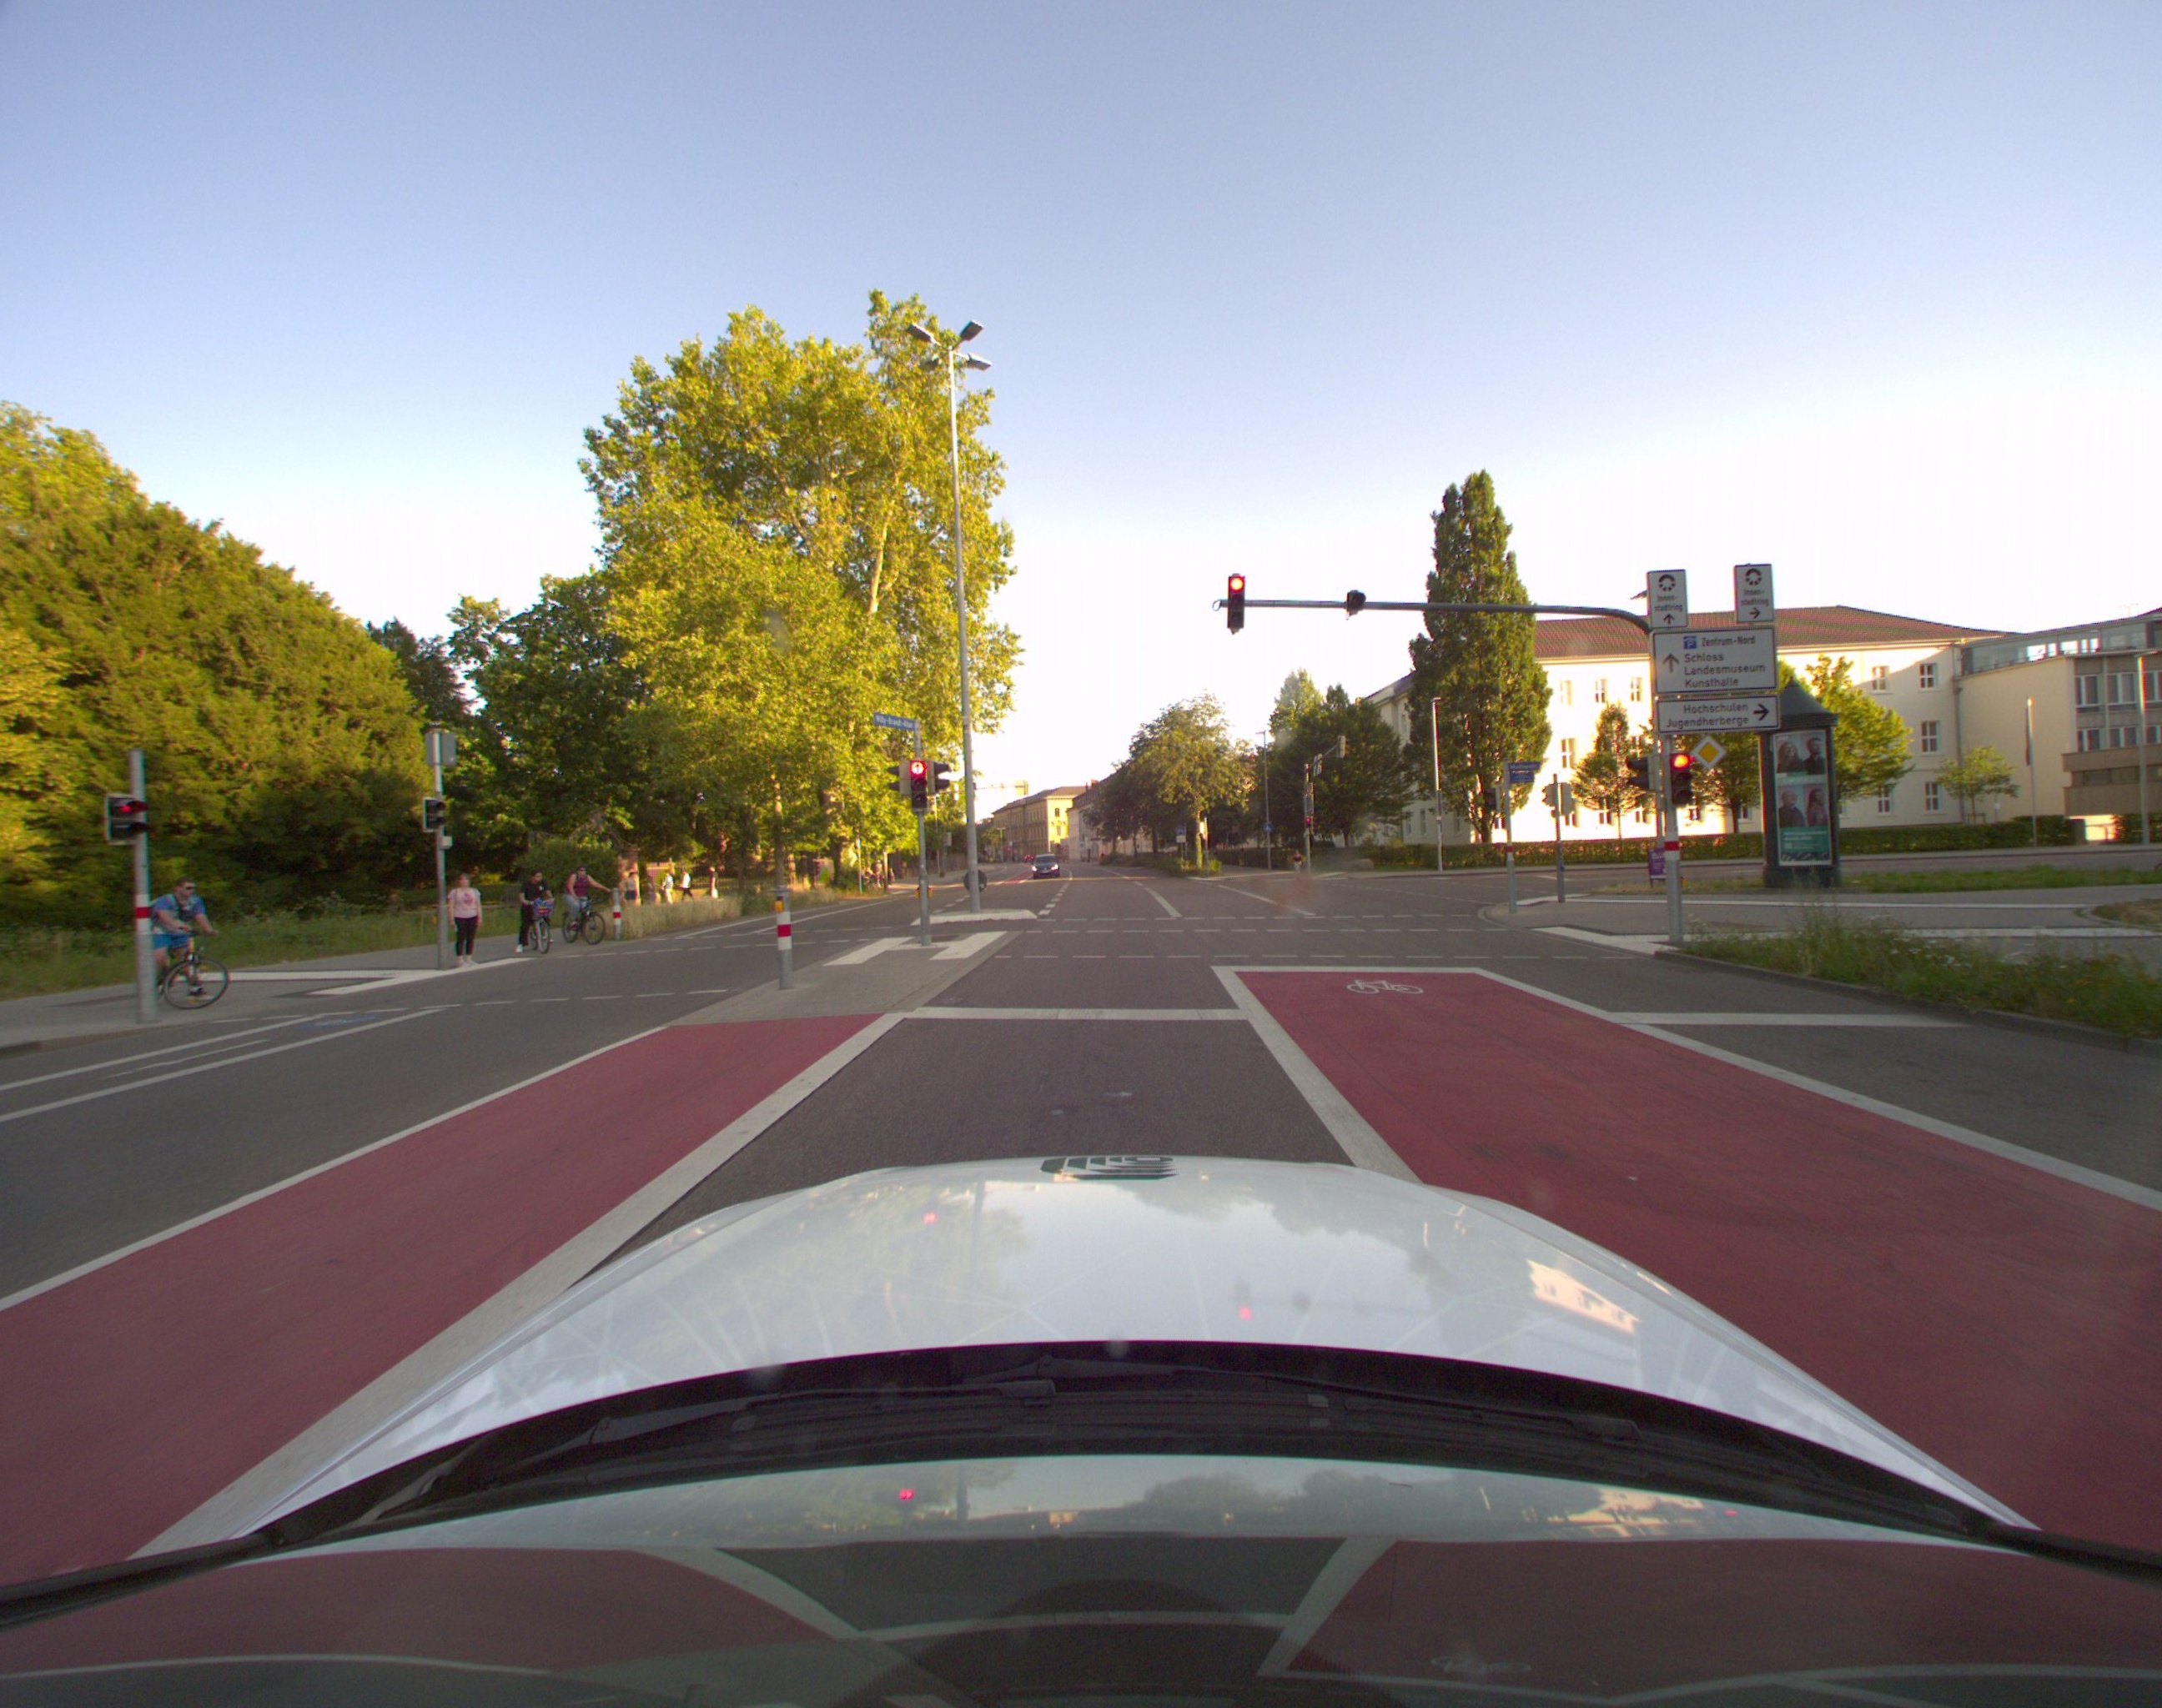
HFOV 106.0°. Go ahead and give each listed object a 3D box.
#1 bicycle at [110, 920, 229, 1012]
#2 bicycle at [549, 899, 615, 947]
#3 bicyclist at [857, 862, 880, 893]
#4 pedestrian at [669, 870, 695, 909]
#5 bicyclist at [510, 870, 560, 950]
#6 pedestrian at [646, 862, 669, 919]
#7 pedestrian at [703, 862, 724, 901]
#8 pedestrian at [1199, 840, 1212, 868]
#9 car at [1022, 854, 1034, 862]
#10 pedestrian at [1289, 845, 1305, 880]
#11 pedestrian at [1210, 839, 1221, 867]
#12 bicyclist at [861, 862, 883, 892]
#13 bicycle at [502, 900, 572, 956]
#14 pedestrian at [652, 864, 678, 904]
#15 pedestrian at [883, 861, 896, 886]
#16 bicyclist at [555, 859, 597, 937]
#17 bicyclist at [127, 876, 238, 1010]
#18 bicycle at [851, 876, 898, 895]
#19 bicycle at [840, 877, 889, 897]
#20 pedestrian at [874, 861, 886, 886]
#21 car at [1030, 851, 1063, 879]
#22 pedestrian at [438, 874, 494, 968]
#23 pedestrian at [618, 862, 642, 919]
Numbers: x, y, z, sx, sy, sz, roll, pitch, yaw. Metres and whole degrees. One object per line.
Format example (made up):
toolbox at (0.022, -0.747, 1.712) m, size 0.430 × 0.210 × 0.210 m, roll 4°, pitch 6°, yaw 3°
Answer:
bicycle at (-12.783, 1.518, 11.402) m, size 2.095 × 1.100 × 0.777 m, roll -2°, pitch 0°, yaw 33°
bicycle at (-11.708, 1.598, 19.078) m, size 1.749 × 1.030 × 0.583 m, roll -2°, pitch 0°, yaw 33°
bicyclist at (-11.633, 1.301, 44.623) m, size 0.954 × 1.631 × 0.753 m, roll -2°, pitch 0°, yaw 2°
pedestrian at (-21.172, 1.868, 43.231) m, size 0.757 × 2.013 × 1.077 m, roll -1°, pitch 0°, yaw 2°
bicyclist at (-11.725, 1.186, 17.492) m, size 0.631 × 1.649 × 0.634 m, roll -3°, pitch 0°, yaw 32°
pedestrian at (-15.272, 1.293, 29.339) m, size 0.598 × 2.013 × 0.634 m, roll -1°, pitch 0°, yaw -38°
pedestrian at (-19.146, 1.434, 42.443) m, size 0.637 × 2.013 × 0.702 m, roll -2°, pitch 0°, yaw 3°
pedestrian at (9.080, 0.025, 59.485) m, size 0.867 × 2.013 × 0.723 m, roll -1°, pitch 0°, yaw 1°
car at (-11.377, 0.877, 174.132) m, size 1.821 × 1.588 × 3.983 m, roll -3°, pitch 0°, yaw -12°
pedestrian at (10.271, 0.416, 38.756) m, size 0.597 × 1.636 × 0.692 m, roll -1°, pitch 0°, yaw 2°
pedestrian at (9.935, -0.065, 60.174) m, size 0.633 × 2.013 × 0.720 m, roll -1°, pitch 0°, yaw -2°
bicyclist at (-11.879, 1.308, 46.285) m, size 0.954 × 1.631 × 0.753 m, roll -2°, pitch 0°, yaw 2°
bicycle at (-11.674, 1.570, 17.469) m, size 1.548 × 1.111 × 0.637 m, roll -2°, pitch 0°, yaw 33°
pedestrian at (-21.529, 1.533, 42.181) m, size 0.799 × 2.013 × 0.994 m, roll -1°, pitch 0°, yaw 1°
pedestrian at (-12.570, 1.277, 53.556) m, size 0.597 × 1.573 × 0.646 m, roll -2°, pitch 0°, yaw 2°
bicyclist at (-11.888, 1.018, 19.178) m, size 0.631 × 1.780 × 0.580 m, roll -3°, pitch 0°, yaw 32°
bicyclist at (-12.766, 1.233, 11.595) m, size 0.708 × 1.824 × 0.737 m, roll 0°, pitch -1°, yaw -2°
bicycle at (-11.715, 1.792, 46.252) m, size 2.420 × 0.924 × 0.775 m, roll -2°, pitch 0°, yaw 2°
bicycle at (-11.877, 1.800, 44.634) m, size 2.420 × 0.924 × 0.775 m, roll -2°, pitch 0°, yaw 2°
pedestrian at (-13.260, 1.292, 53.768) m, size 0.533 × 1.596 × 0.591 m, roll -2°, pitch 0°, yaw 2°
car at (-2.383, 0.729, 56.700) m, size 1.842 × 1.720 × 4.298 m, roll -4°, pitch 0°, yaw 2°
pedestrian at (-11.564, 1.249, 15.329) m, size 0.604 × 1.695 × 0.499 m, roll -2°, pitch 0°, yaw 3°
pedestrian at (-16.208, 1.302, 29.241) m, size 0.654 × 2.013 × 0.599 m, roll -1°, pitch 0°, yaw -37°
